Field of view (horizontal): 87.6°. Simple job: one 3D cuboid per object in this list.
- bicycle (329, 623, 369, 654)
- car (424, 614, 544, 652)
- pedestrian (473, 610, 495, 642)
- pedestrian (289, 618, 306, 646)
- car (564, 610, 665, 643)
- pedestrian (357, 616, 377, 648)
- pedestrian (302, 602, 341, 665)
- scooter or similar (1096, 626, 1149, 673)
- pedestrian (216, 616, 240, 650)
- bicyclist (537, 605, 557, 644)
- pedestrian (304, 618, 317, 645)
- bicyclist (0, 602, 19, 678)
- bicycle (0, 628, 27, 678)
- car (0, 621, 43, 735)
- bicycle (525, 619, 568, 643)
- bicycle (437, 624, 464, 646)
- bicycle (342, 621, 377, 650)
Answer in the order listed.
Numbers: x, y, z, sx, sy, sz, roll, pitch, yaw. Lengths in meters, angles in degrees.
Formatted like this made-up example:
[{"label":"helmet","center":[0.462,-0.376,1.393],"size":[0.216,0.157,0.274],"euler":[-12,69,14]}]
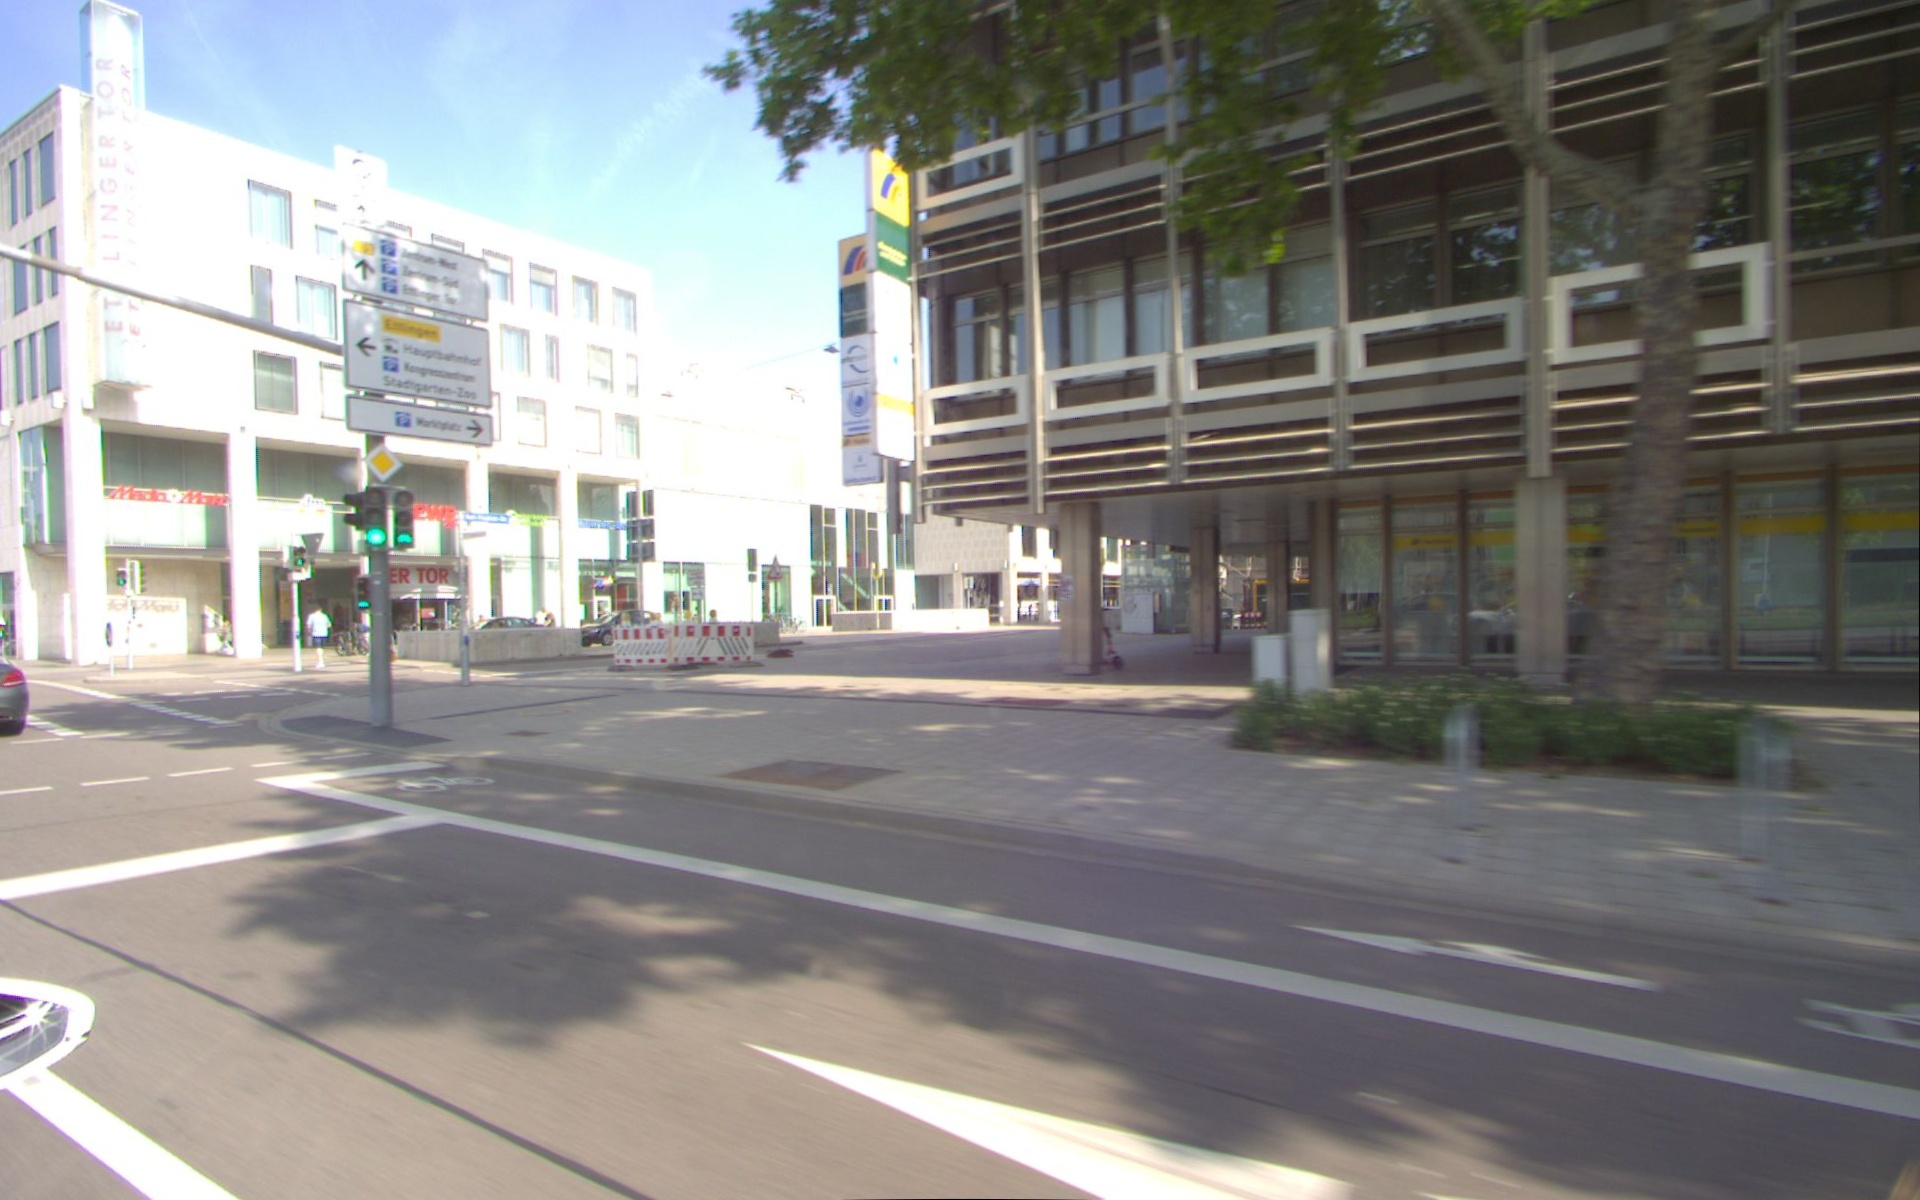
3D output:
[{"label":"bicycle","center":[-25.494,1.595,41.765],"size":[2.042,1.253,0.611],"euler":[-1,0,34]},{"label":"car","center":[-18.878,1.302,39.817],"size":[1.853,1.384,3.879],"euler":[-2,-1,36]},{"label":"pedestrian","center":[-22.830,1.250,48.057],"size":[0.724,1.505,0.602],"euler":[-1,0,2]},{"label":"pedestrian","center":[-33.899,1.637,51.254],"size":[0.485,1.402,0.563],"euler":[0,0,27]},{"label":"car","center":[-15.401,1.163,44.799],"size":[1.855,1.421,3.887],"euler":[-1,-1,36]},{"label":"pedestrian","center":[-25.524,1.377,43.084],"size":[0.539,1.374,0.511],"euler":[-1,0,25]},{"label":"pedestrian","center":[-17.838,0.925,27.953],"size":[0.978,1.734,0.640],"euler":[0,1,40]},{"label":"scooter or similar","center":[3.026,0.911,18.667],"size":[0.945,0.854,0.278],"euler":[-1,0,33]},{"label":"pedestrian","center":[-32.893,1.491,45.008],"size":[0.596,1.507,0.705],"euler":[0,1,34]},{"label":"bicyclist","center":[-18.749,1.111,45.466],"size":[0.574,1.761,0.633],"euler":[0,1,32]},{"label":"pedestrian","center":[-32.979,1.621,50.864],"size":[0.449,1.359,0.391],"euler":[0,1,32]},{"label":"bicyclist","center":[-22.879,0.943,23.738],"size":[0.759,1.772,0.649],"euler":[0,1,34]},{"label":"bicycle","center":[-22.853,1.244,23.723],"size":[2.023,1.132,0.659],"euler":[-1,0,35]},{"label":"car","center":[-14.099,1.012,13.595],"size":[4.063,1.454,1.754],"euler":[-1,-1,37]},{"label":"bicycle","center":[-18.751,1.395,45.470],"size":[0.603,1.031,1.798],"euler":[0,0,32]},{"label":"bicycle","center":[-23.682,1.625,46.520],"size":[1.835,0.969,0.456],"euler":[-1,0,42]},{"label":"bicycle","center":[-25.554,1.507,42.607],"size":[1.767,1.215,0.499],"euler":[-1,0,31]}]
